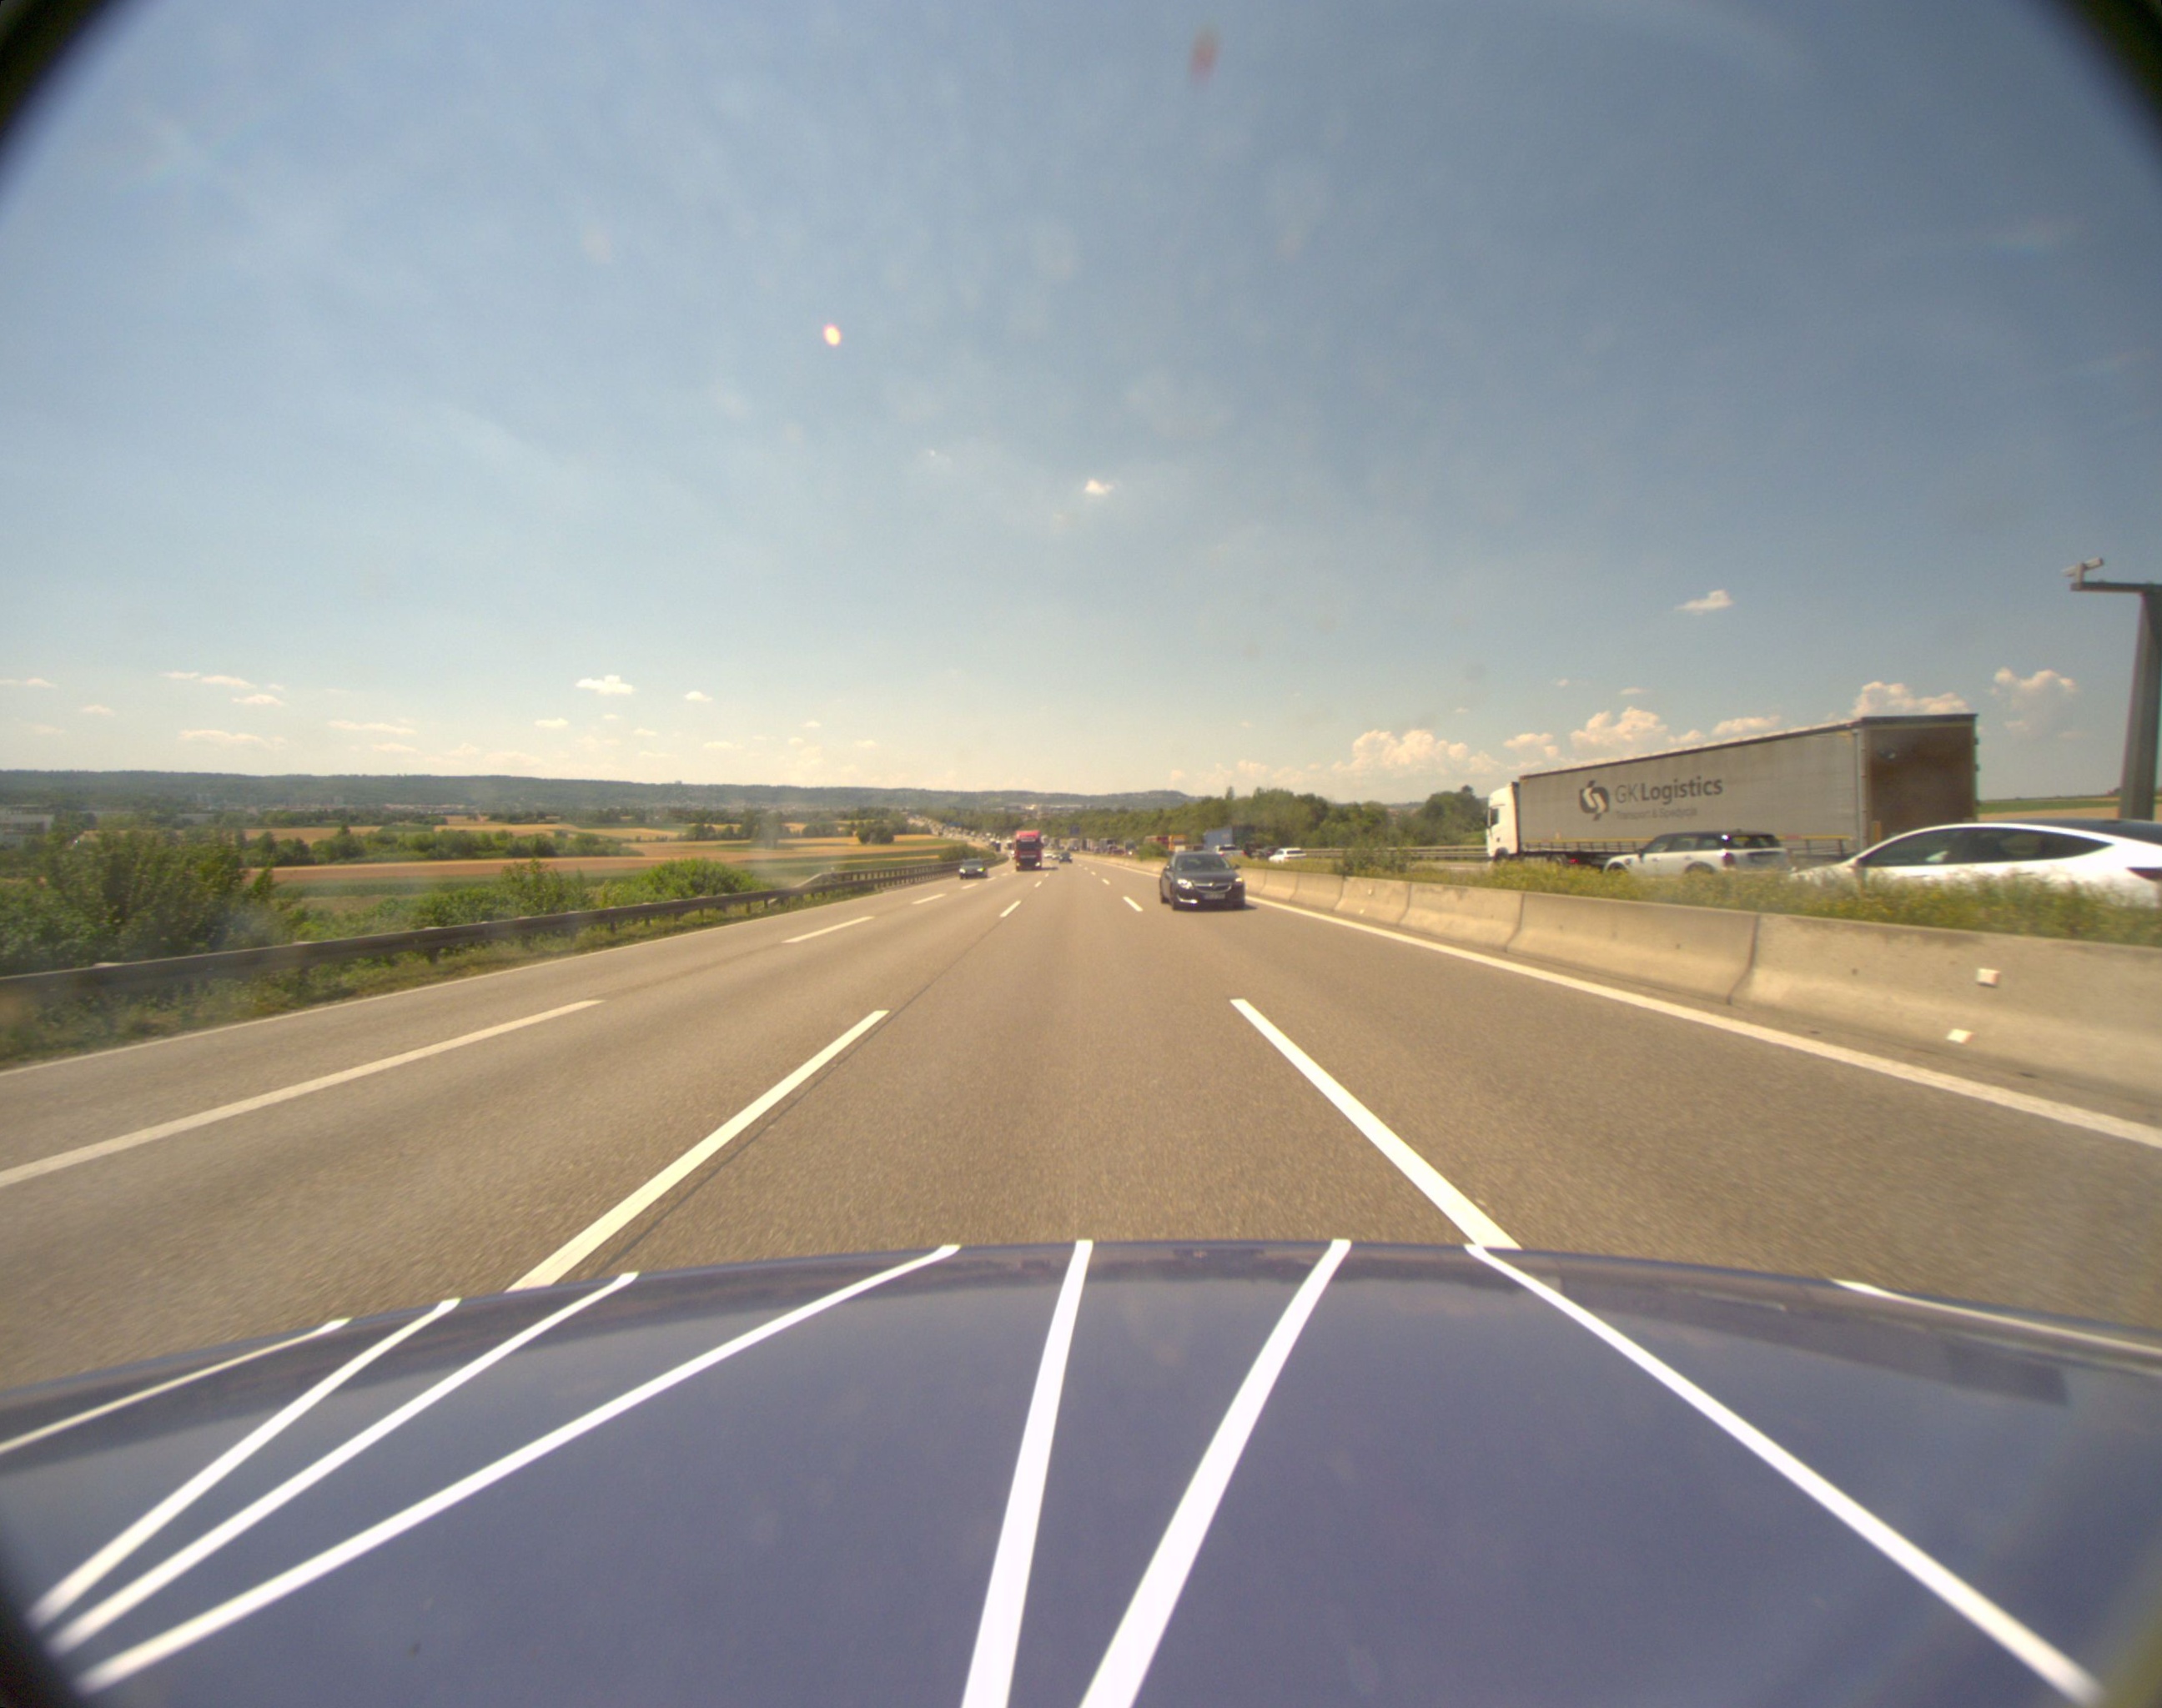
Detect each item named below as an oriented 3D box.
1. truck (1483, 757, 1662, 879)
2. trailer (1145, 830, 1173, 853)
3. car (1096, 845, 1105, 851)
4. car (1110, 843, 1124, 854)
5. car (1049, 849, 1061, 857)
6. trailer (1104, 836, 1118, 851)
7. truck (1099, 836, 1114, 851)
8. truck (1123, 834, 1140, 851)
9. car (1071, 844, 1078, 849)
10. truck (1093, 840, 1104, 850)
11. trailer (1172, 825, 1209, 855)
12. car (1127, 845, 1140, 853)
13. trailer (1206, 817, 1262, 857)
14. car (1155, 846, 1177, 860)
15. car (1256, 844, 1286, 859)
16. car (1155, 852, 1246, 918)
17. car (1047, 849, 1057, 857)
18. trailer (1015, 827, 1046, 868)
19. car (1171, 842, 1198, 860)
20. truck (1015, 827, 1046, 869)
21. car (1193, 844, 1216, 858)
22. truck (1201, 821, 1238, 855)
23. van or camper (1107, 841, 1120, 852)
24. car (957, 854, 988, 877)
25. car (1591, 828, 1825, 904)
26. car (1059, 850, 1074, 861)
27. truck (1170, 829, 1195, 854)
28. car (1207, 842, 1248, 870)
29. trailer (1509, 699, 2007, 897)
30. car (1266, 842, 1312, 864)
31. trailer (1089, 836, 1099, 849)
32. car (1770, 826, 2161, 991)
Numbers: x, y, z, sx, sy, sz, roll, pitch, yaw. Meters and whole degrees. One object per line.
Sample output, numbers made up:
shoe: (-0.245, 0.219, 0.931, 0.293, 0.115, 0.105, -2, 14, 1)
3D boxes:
truck: (19.392, -1.343, 30.532, 3.140, 4.303, 6.146, -2, 1, 1)
trailer: (14.622, -2.335, 143.738, 3.094, 4.077, 14.374, -3, 1, -3)
car: (5.502, -1.724, 218.890, 1.919, 1.762, 4.759, -3, 1, -5)
car: (6.851, -1.086, 144.308, 1.919, 1.959, 5.444, -3, 1, -3)
car: (-5.146, -0.162, 147.387, 1.867, 1.322, 3.995, -2, 3, -8)
trailer: (8.486, -2.999, 216.632, 2.995, 4.169, 8.589, -2, 1, -5)
truck: (7.618, -3.118, 226.311, 3.010, 4.210, 10.726, -2, 1, -5)
truck: (11.957, -2.780, 179.731, 2.909, 3.854, 6.174, -3, 1, -5)
car: (-2.179, -2.613, 253.684, 2.055, 1.686, 5.252, -3, 1, -5)
truck: (5.805, -3.089, 251.787, 2.546, 3.189, 7.583, -2, 1, -6)
trailer: (16.595, -2.067, 115.957, 2.960, 4.077, 14.377, -3, 1, -2)
car: (10.296, -1.017, 149.250, 1.919, 1.532, 5.740, -3, 1, -3)
trailer: (17.795, -1.976, 89.647, 3.169, 4.170, 14.375, -3, 1, -1)
car: (10.285, -0.113, 92.184, 1.999, 1.625, 4.348, -3, 1, -2)
car: (18.575, -0.278, 74.401, 1.662, 1.377, 4.349, -3, 0, -2)
car: (3.126, 0.740, 20.780, 1.807, 1.534, 4.749, -2, 0, 1)
car: (-6.768, -0.211, 175.415, 1.999, 1.468, 3.996, -3, 3, -6)
trailer: (-5.676, -0.852, 83.891, 2.927, 4.094, 13.848, -3, 2, -4)
car: (10.409, -0.319, 76.824, 1.999, 1.663, 4.476, -3, 0, -2)
truck: (-5.179, -0.681, 77.442, 2.925, 3.986, 6.506, -3, 2, -4)
car: (13.824, -0.329, 84.997, 1.629, 1.396, 3.729, -3, 0, -4)
truck: (17.487, -2.029, 96.338, 3.084, 4.066, 6.933, -3, 1, -2)
van or camper: (7.828, -1.776, 184.688, 2.317, 2.572, 7.139, -3, 1, -3)
car: (-8.050, 0.852, 56.730, 2.038, 1.543, 3.997, -2, 0, -6)
car: (15.109, 0.224, 18.728, 1.998, 1.578, 4.588, -2, 1, 0)
car: (-2.121, 0.243, 111.512, 1.866, 1.426, 3.996, -2, 3, -4)
truck: (16.441, -2.048, 123.138, 2.758, 3.815, 7.096, -3, 1, -2)
car: (11.139, 0.112, 58.202, 1.999, 1.893, 5.675, -3, 1, 0)
trailer: (19.338, -1.353, 24.361, 3.131, 4.299, 14.542, -2, 1, 1)
car: (14.706, -0.082, 53.906, 1.848, 1.452, 4.490, -3, 1, -2)
trailer: (4.310, -3.942, 260.859, 2.928, 4.049, 8.226, -1, 1, -3)
car: (11.388, 0.498, 9.213, 1.884, 1.562, 4.588, -2, 0, 0)
